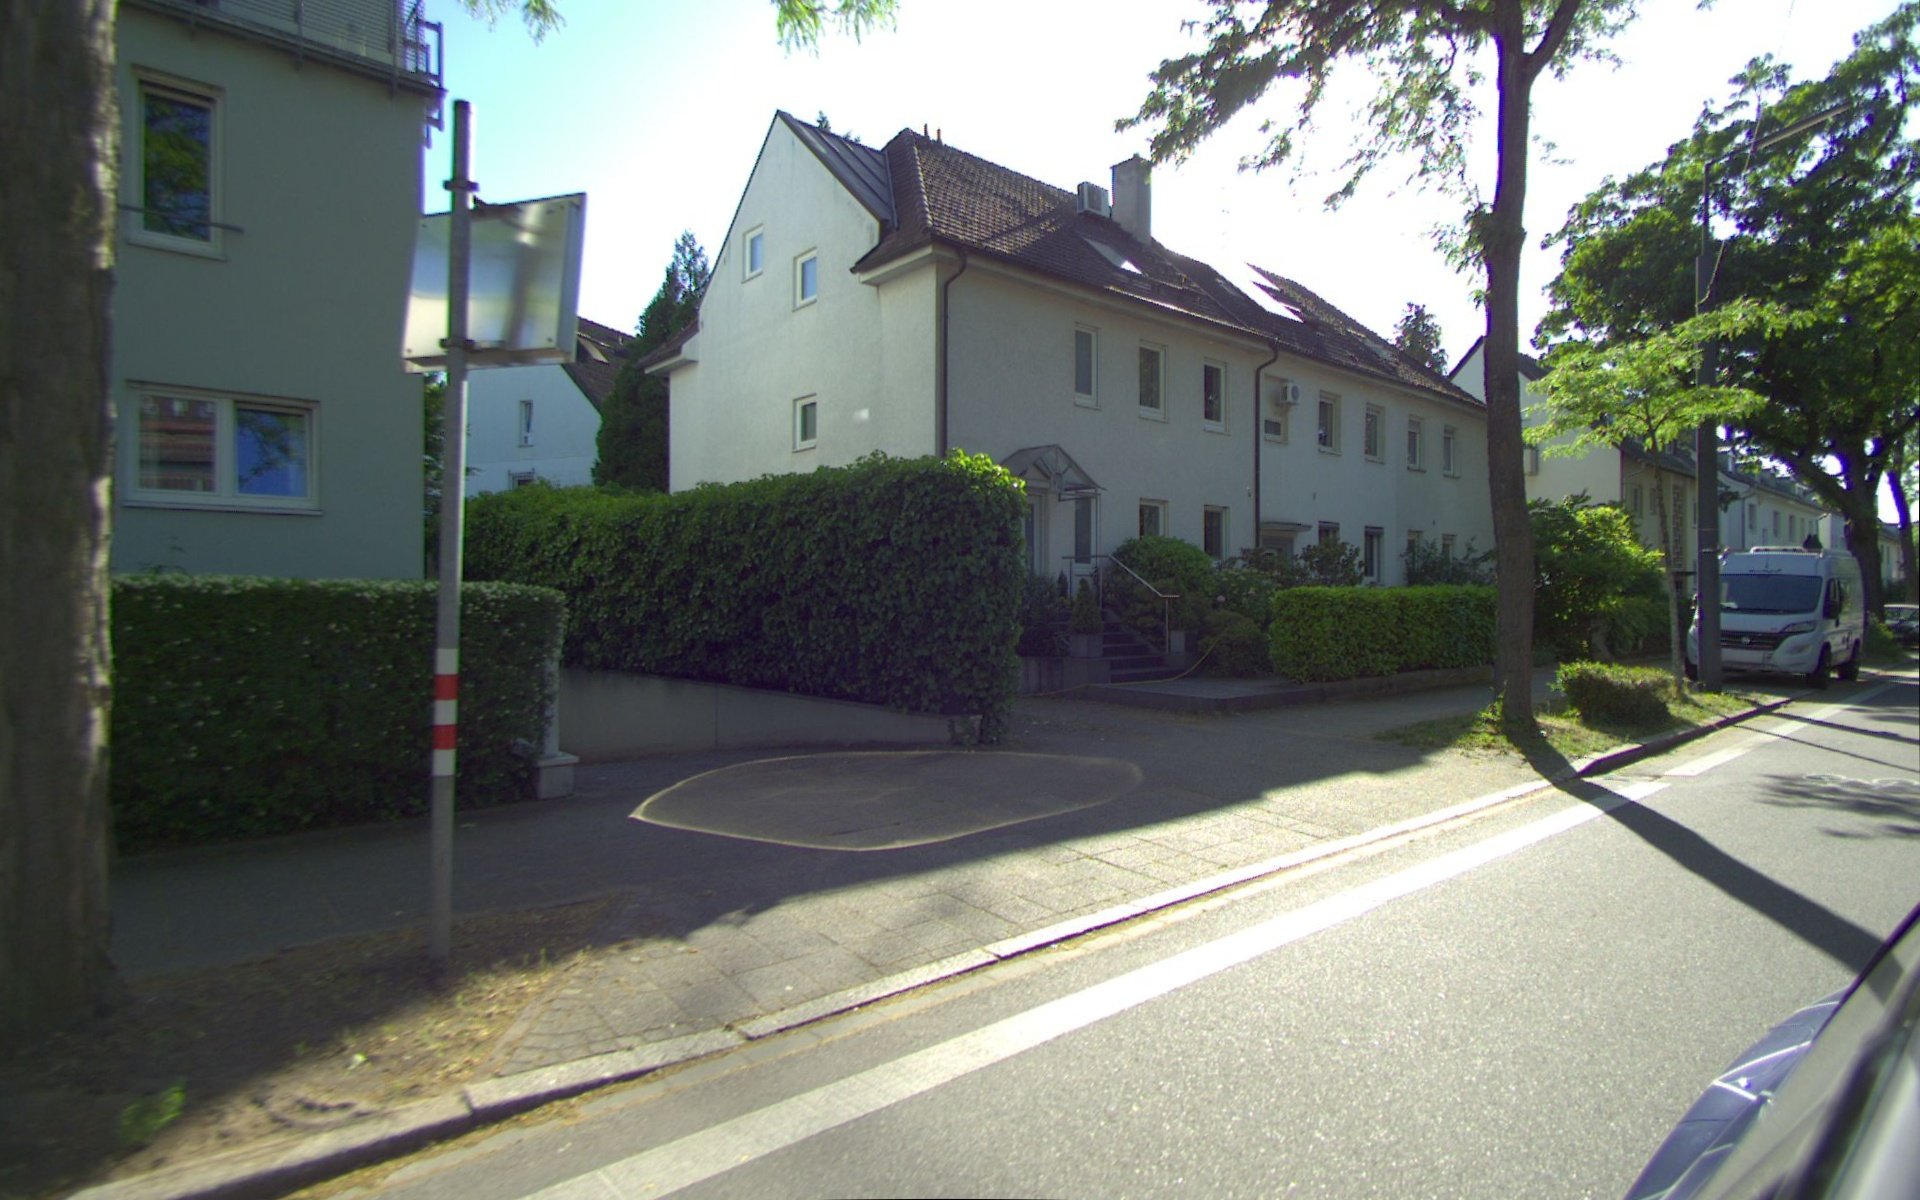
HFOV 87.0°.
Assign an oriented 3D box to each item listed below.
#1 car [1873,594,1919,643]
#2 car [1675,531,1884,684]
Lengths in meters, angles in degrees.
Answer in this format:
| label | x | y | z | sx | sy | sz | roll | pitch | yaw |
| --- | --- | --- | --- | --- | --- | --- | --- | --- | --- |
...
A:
| label | x | y | z | sx | sy | sz | roll | pitch | yaw |
| --- | --- | --- | --- | --- | --- | --- | --- | --- | --- |
| car | 32.166 | 0.600 | 33.874 | 3.926 | 1.555 | 1.664 | 0 | 1 | -37 |
| car | 16.371 | 0.089 | 20.084 | 5.619 | 2.622 | 2.295 | -1 | 0 | -41 |
